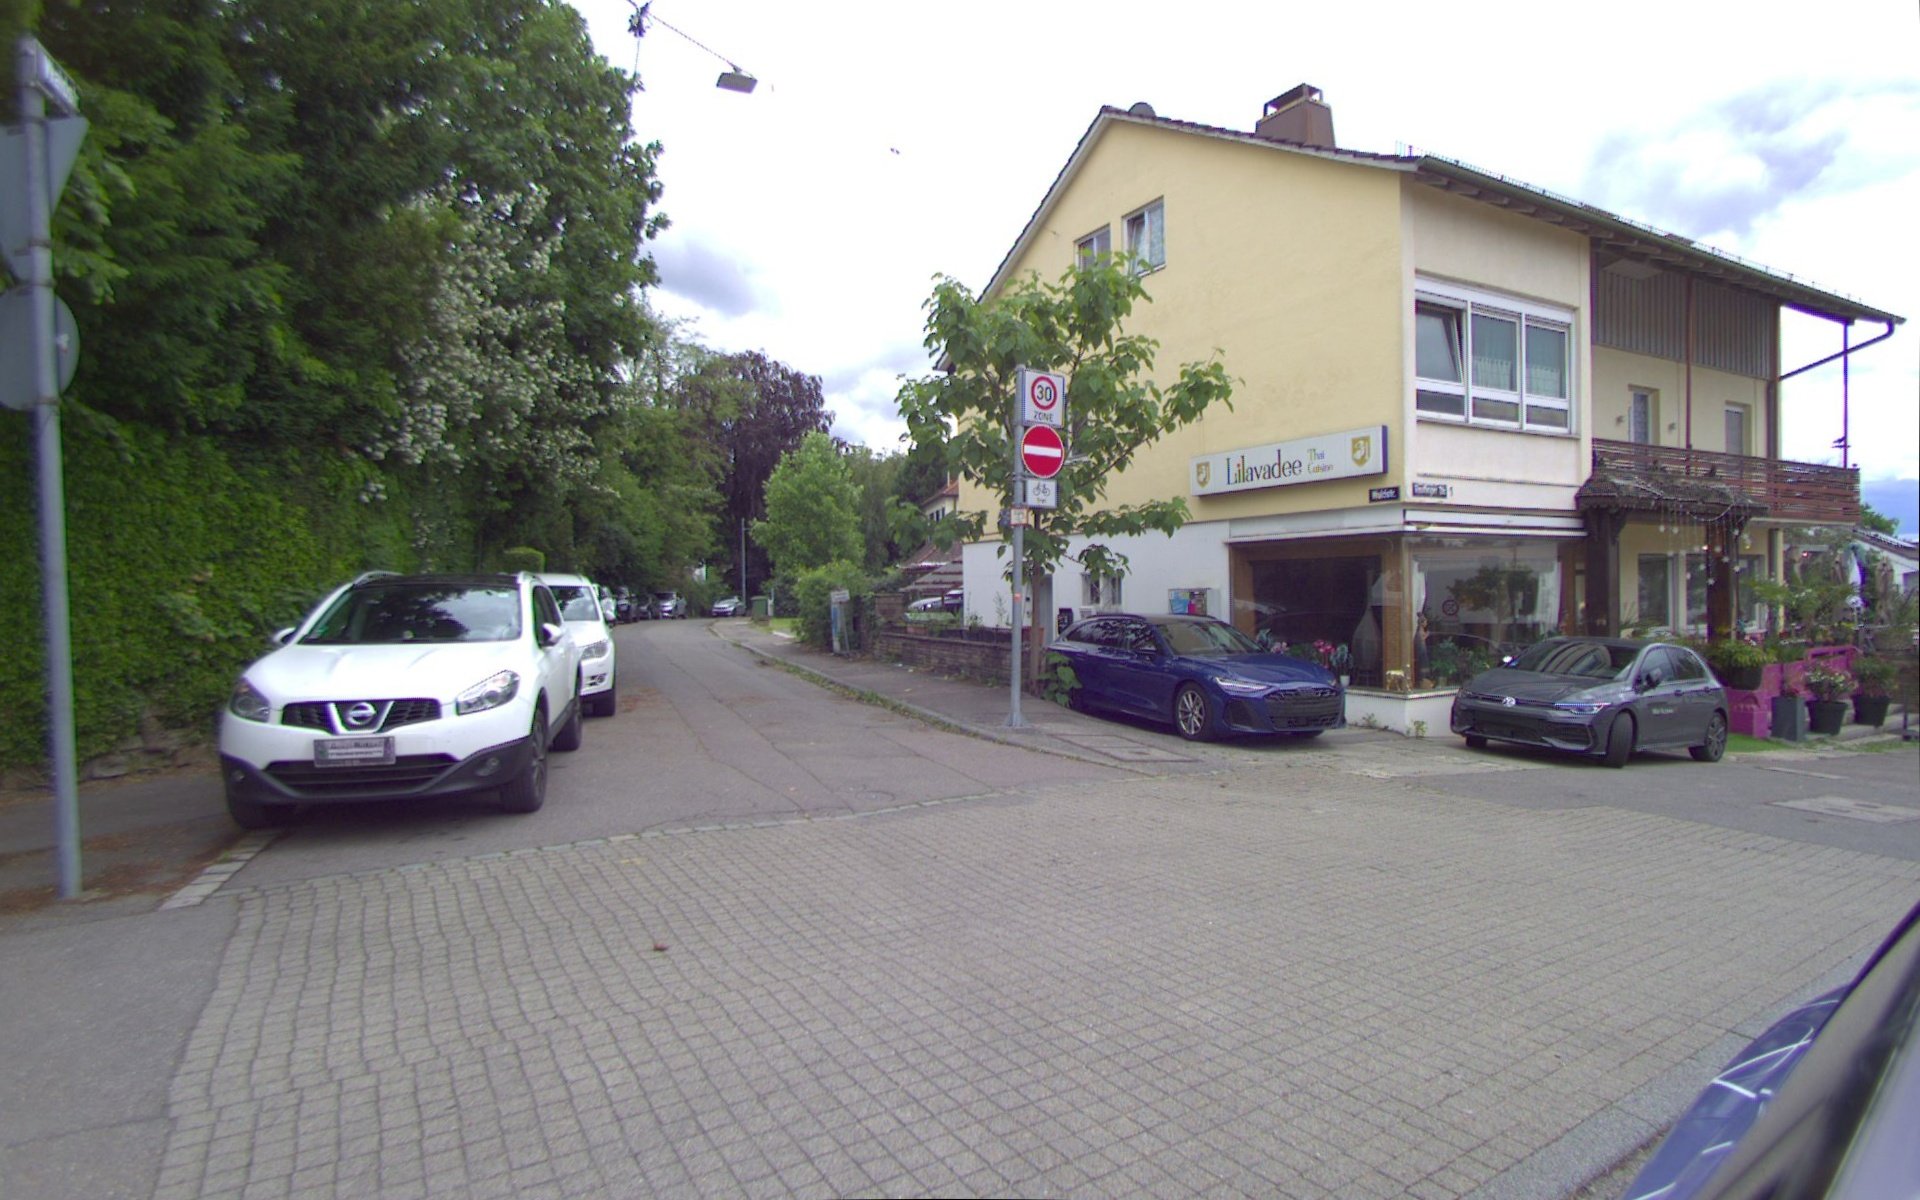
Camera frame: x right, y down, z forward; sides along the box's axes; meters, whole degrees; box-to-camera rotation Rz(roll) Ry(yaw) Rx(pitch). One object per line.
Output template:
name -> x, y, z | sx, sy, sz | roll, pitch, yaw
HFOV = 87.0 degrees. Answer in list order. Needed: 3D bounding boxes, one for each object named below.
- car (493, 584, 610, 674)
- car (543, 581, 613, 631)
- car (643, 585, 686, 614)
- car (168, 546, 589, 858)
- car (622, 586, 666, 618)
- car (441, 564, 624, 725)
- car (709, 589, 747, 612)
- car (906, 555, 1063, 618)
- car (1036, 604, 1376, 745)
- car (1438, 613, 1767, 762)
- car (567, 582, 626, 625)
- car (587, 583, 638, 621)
car -> -7.398, 0.432, 18.554 | 1.761, 1.441, 4.080 | -1, 1, -20
car -> -12.230, 0.137, 32.593 | 1.542, 1.502, 3.745 | -1, 1, -11
car -> -16.256, -0.042, 55.795 | 1.543, 1.502, 3.476 | 0, 1, -3
car -> -3.877, 0.506, 7.557 | 1.761, 1.643, 4.144 | -1, 1, -16
car -> -15.932, 0.074, 51.113 | 1.542, 1.502, 3.479 | -1, 1, -8
car -> -5.188, 0.432, 12.611 | 1.761, 1.643, 4.080 | -1, 1, -20
car -> -16.365, 0.028, 71.458 | 1.547, 1.502, 3.468 | 0, 1, 7
car -> 0.728, -0.375, 30.197 | 4.235, 1.480, 1.802 | 4, -2, -19
car -> 2.904, 0.826, 13.214 | 1.761, 1.405, 4.758 | 2, 0, -23
car -> 7.932, 1.063, 12.375 | 4.242, 1.480, 1.800 | 5, -2, -34
car -> -13.437, 0.103, 37.547 | 1.542, 1.502, 3.481 | -1, 1, -11
car -> -14.221, 0.044, 41.527 | 1.542, 1.502, 3.481 | -1, 1, -11
